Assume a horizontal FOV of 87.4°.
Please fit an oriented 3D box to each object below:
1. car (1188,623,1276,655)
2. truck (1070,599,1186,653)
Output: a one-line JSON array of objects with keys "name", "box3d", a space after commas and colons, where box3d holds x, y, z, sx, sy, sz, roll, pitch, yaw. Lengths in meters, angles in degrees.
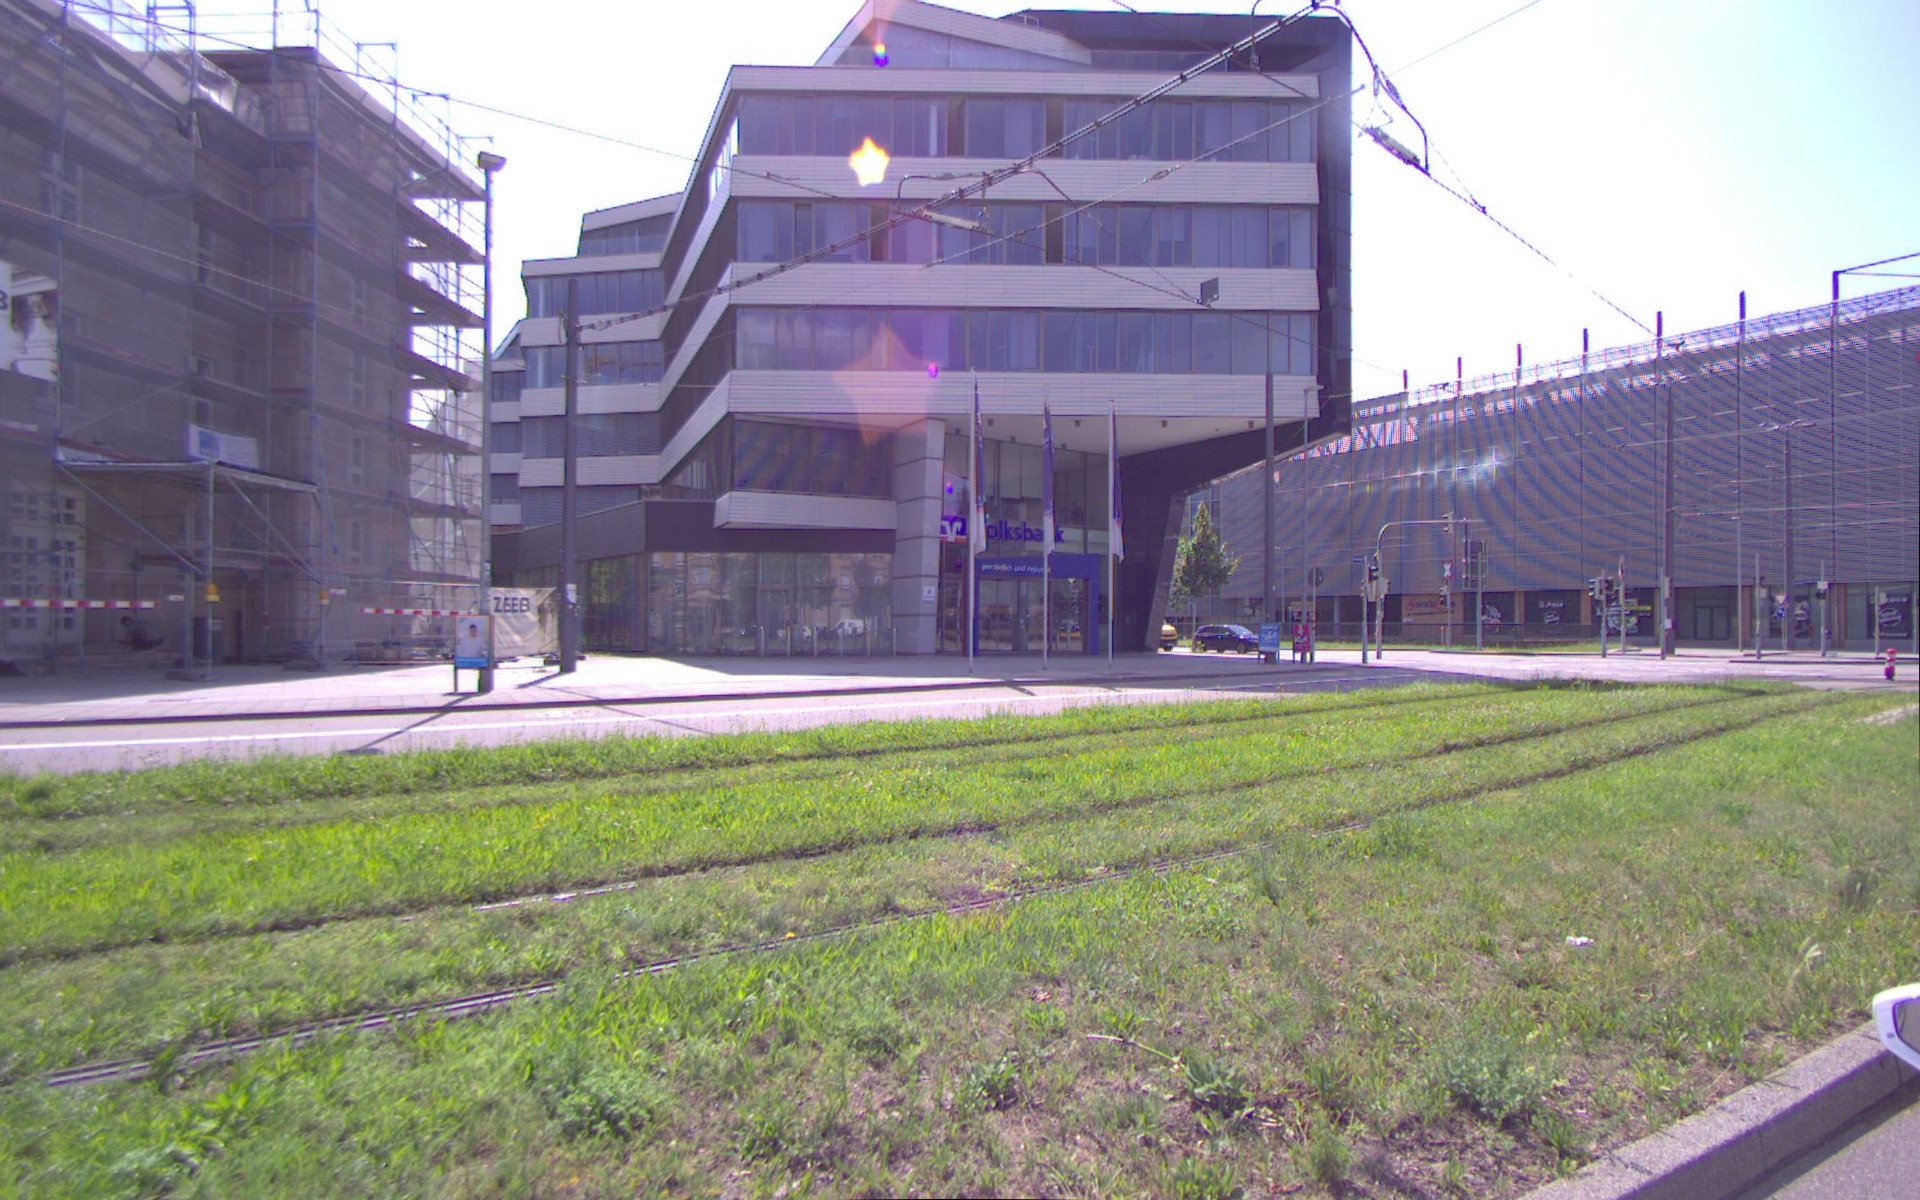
[{"name": "car", "box3d": [13.484, 1.903, 50.027, 1.809, 1.488, 4.073, 1, -1, -34]}, {"name": "truck", "box3d": [9.326, 1.448, 56.451, 2.422, 2.866, 6.802, 1, -1, -35]}]
